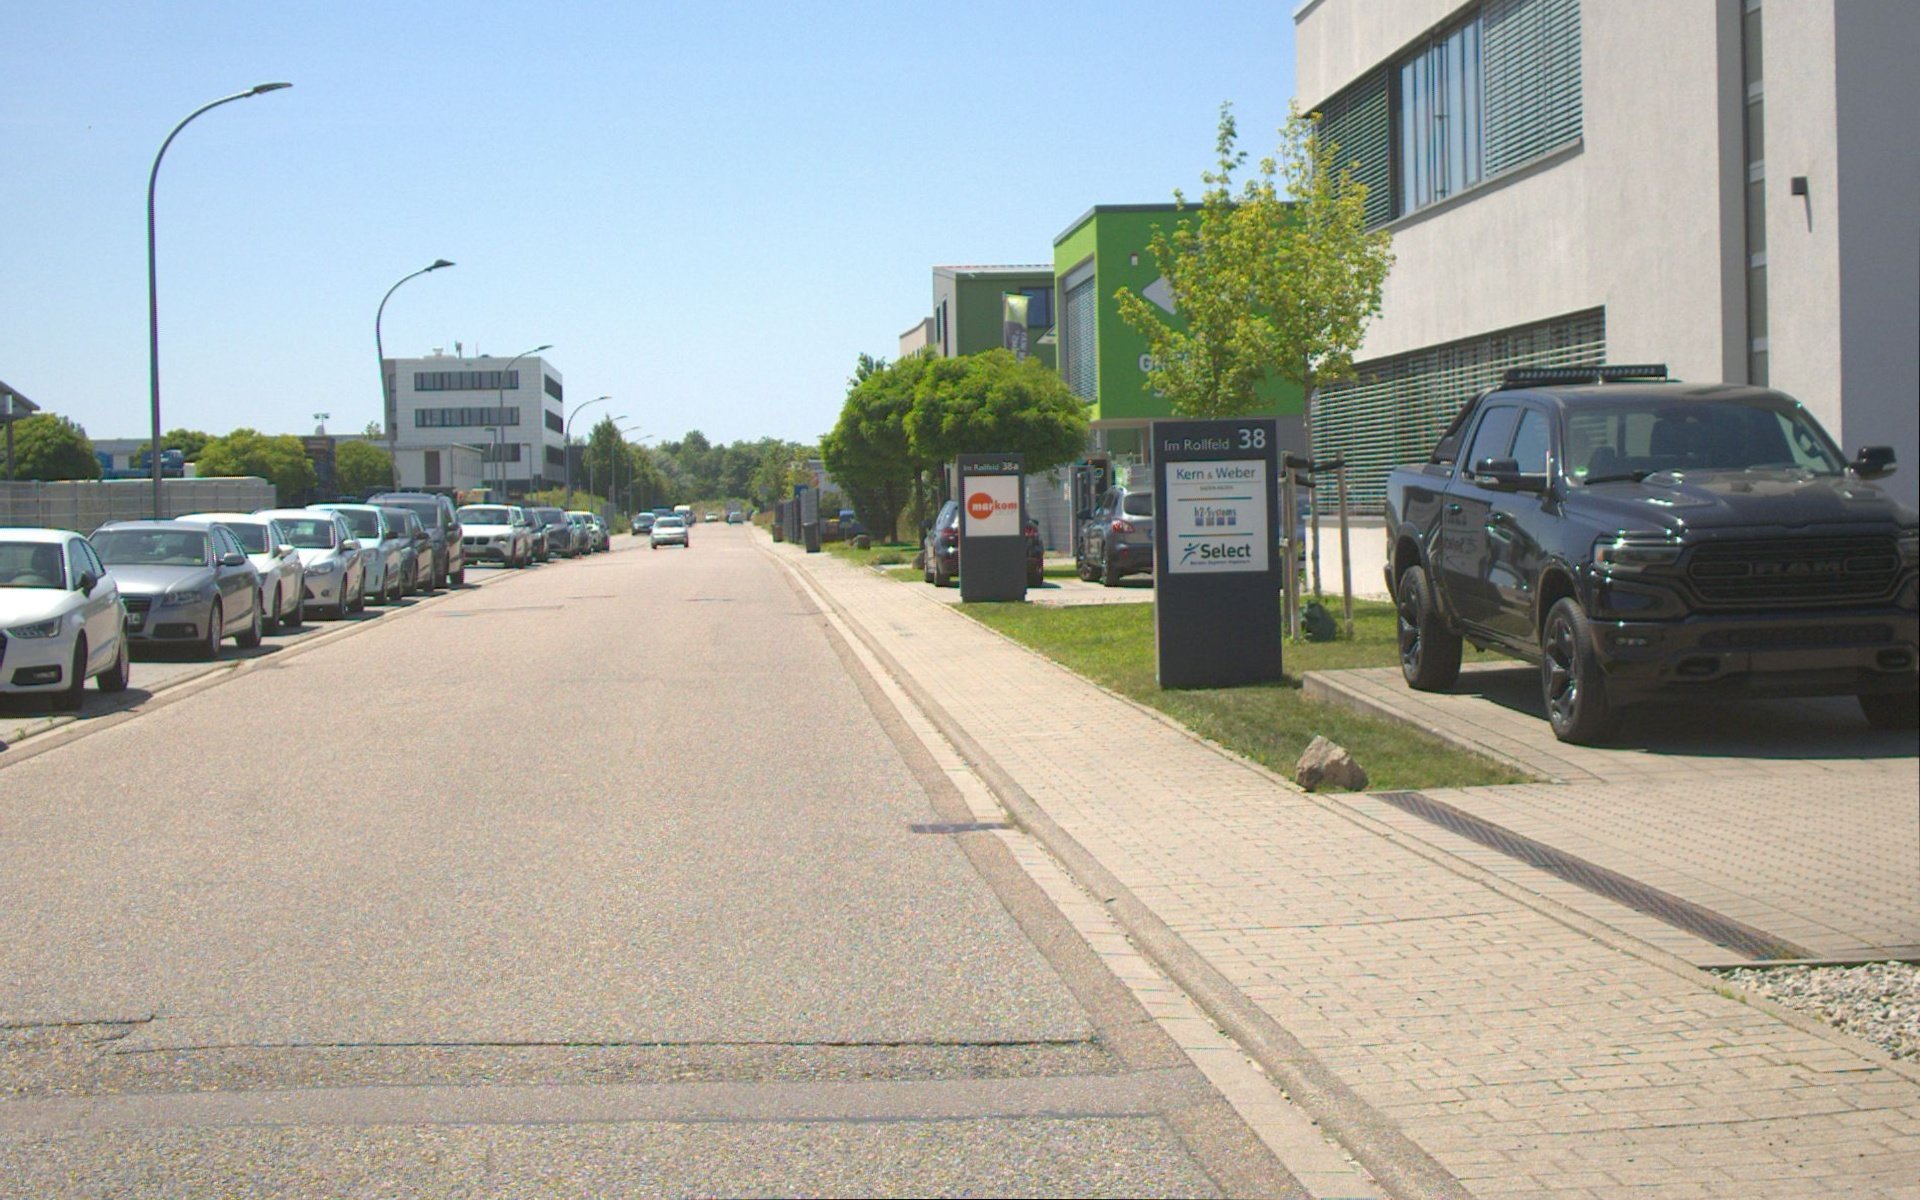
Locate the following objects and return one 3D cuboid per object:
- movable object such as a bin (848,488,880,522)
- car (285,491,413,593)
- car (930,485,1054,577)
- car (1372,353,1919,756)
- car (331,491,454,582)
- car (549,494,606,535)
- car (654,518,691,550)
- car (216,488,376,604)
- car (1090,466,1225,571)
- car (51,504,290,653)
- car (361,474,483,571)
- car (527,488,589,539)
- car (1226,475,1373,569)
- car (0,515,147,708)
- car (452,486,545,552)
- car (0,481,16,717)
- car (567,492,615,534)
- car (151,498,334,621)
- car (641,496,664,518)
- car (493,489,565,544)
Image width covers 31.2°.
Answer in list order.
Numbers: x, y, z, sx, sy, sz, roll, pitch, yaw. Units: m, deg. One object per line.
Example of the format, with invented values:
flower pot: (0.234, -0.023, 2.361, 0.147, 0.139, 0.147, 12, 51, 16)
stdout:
movable object such as a bin: (-4.244, -4.218, 152.299, 1.334, 1.454, 0.949, -2, 1, -4)
car: (-9.657, -0.943, 54.533, 1.634, 1.530, 3.659, -1, 2, -4)
car: (0.489, -1.159, 56.352, 1.692, 1.423, 4.247, -1, 2, -4)
car: (4.094, -0.441, 20.673, 1.993, 2.006, 5.802, -2, 4, -5)
car: (-9.777, -1.124, 59.421, 1.634, 1.495, 3.972, -1, 2, -3)
car: (-14.088, -3.149, 126.702, 1.857, 1.475, 4.230, -1, 2, -4)
car: (-13.517, -3.119, 161.728, 1.704, 1.406, 4.785, 0, 2, -5)
car: (-9.338, -0.805, 48.635, 1.703, 1.530, 4.573, -1, 2, -4)
car: (3.197, -1.356, 56.316, 1.722, 1.627, 4.023, -1, 2, -4)
car: (-8.402, -0.284, 36.934, 1.684, 1.381, 4.640, -1, 3, -3)
car: (-10.001, -1.475, 64.187, 1.802, 1.713, 4.623, -1, 2, -3)
car: (-12.909, -2.791, 110.485, 1.790, 1.601, 4.464, -1, 2, -4)
car: (5.478, -1.289, 55.911, 1.722, 1.444, 4.023, -1, 2, -4)
car: (-7.804, 0.056, 28.205, 1.699, 1.381, 3.939, -2, 3, -6)
car: (-11.279, -1.999, 84.245, 1.787, 1.537, 4.365, -1, 2, -2)
car: (-7.558, 0.106, 22.070, 1.769, 1.645, 4.852, -1, 3, -2)
car: (-14.569, -3.441, 135.810, 1.768, 1.586, 4.361, -1, 1, -5)
car: (-9.049, -0.554, 43.659, 1.703, 1.438, 4.441, -1, 2, -4)
car: (-21.535, -6.506, 241.109, 1.466, 1.484, 3.208, -2, 2, -3)
car: (-12.104, -2.365, 96.815, 1.763, 1.512, 4.381, -1, 2, -4)
